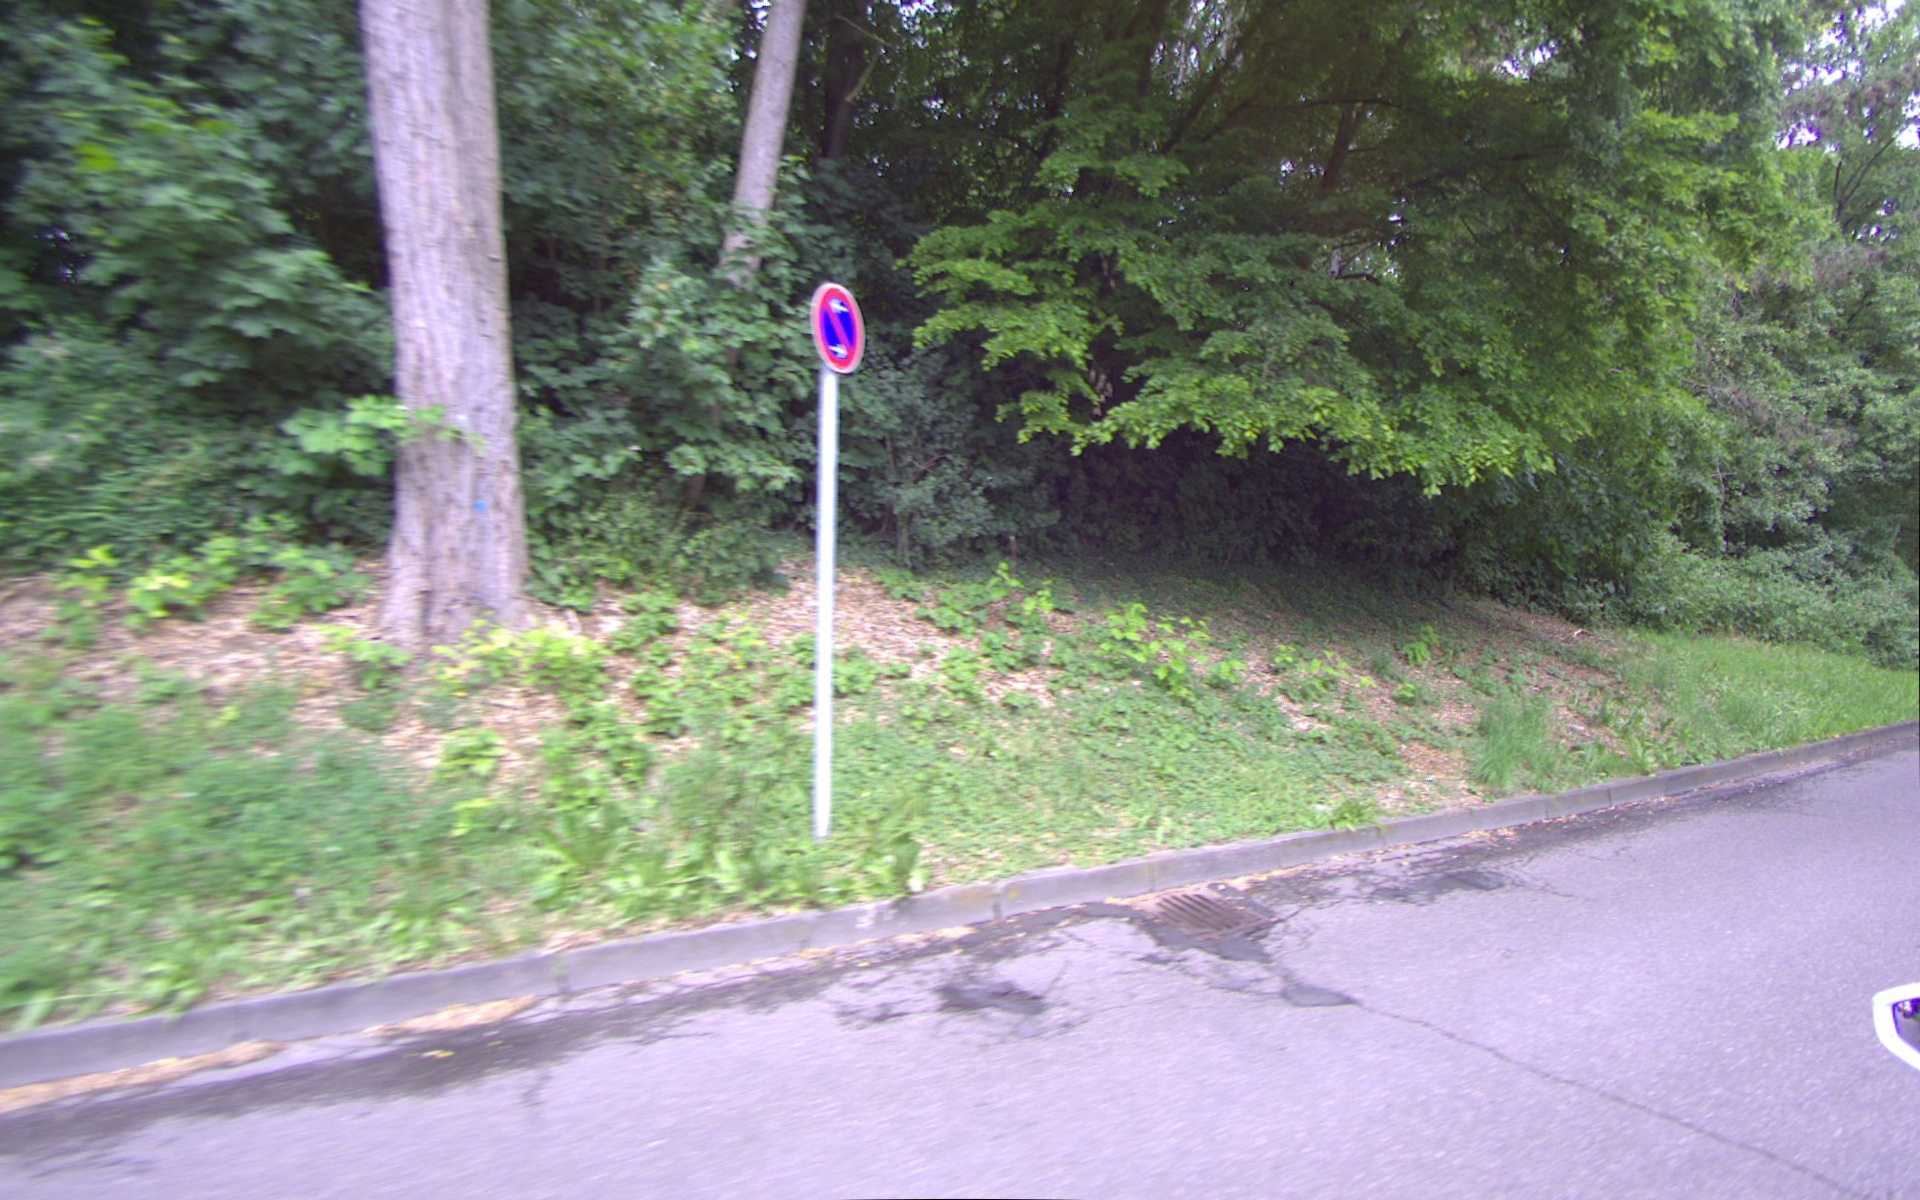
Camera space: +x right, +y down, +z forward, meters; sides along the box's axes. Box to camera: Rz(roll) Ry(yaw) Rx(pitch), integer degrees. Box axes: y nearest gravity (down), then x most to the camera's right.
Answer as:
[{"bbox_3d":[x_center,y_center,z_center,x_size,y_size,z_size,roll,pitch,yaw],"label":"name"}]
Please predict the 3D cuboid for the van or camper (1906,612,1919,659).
[{"bbox_3d":[62.170,2.267,63.169,2.391,3.047,5.204,1,-1,26],"label":"van or camper"}]
